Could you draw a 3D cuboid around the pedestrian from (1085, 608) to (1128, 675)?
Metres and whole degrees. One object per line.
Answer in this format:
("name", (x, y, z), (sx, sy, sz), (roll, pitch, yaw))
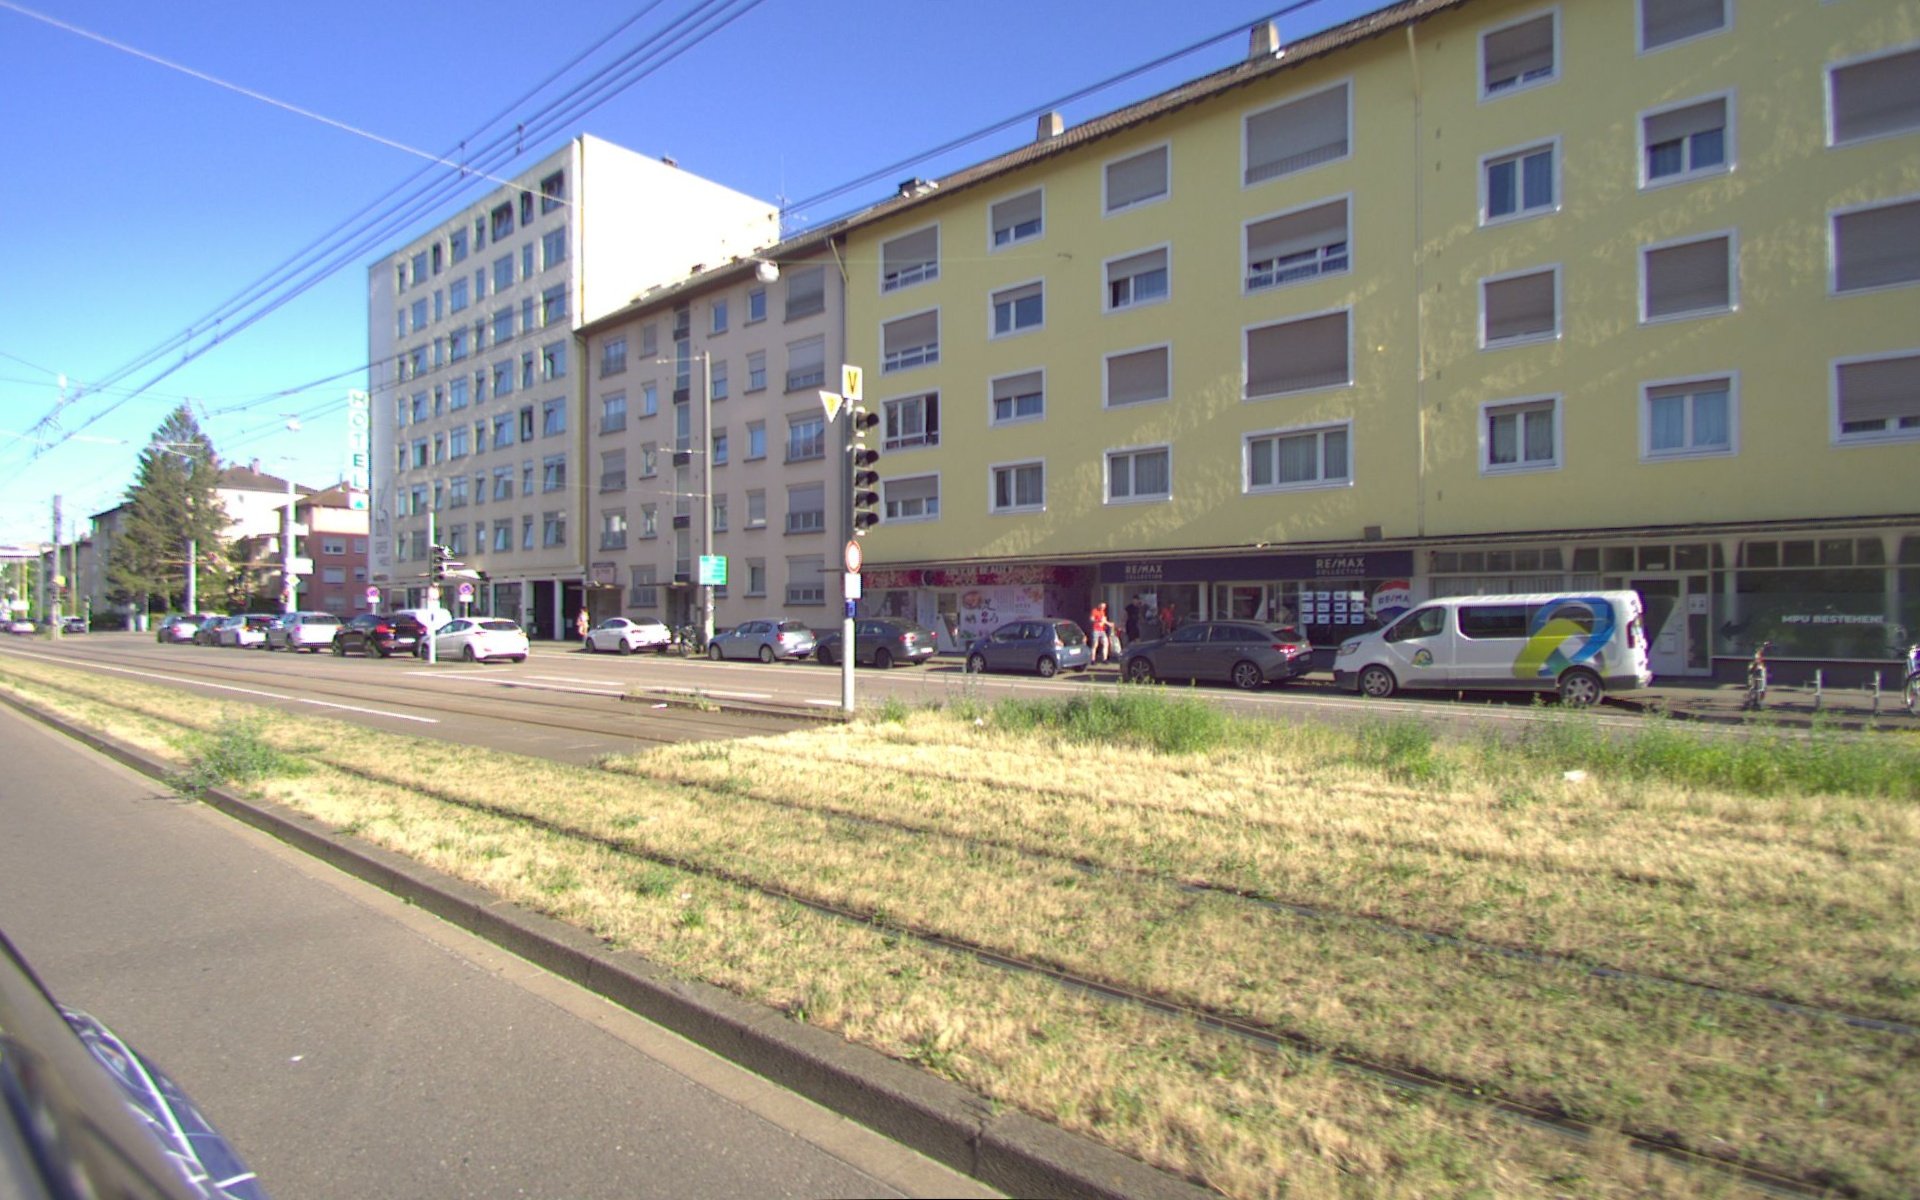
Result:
("pedestrian", (3.944, 1.103, 27.246), (0.844, 1.756, 0.664), (-2, 1, 41))

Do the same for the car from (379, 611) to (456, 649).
("car", (-29.393, 1.605, 54.788), (4.665, 1.912, 1.974), (-2, 1, 39))

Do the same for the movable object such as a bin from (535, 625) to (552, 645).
("movable object such as a bin", (-22.295, 1.896, 54.159), (0.775, 1.059, 0.538), (-2, -2, 43))

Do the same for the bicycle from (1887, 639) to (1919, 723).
("bicycle", (14.703, 1.223, 15.716), (0.390, 1.114, 1.800), (-2, 1, 41))

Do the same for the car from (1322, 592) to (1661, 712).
("car", (10.099, 0.930, 19.518), (5.493, 1.964, 1.975), (-2, 1, 38))

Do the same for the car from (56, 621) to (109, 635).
("car", (-92.130, 2.942, 106.283), (1.737, 1.342, 3.946), (-2, -2, 40))

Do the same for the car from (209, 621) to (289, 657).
("car", (-31.936, 1.762, 45.408), (4.236, 1.562, 1.838), (-2, -4, 39))

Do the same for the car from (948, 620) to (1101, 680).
("car", (1.679, 1.298, 27.079), (3.766, 1.395, 1.765), (-2, 1, 41))

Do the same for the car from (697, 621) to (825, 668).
("car", (-6.719, 1.468, 33.948), (4.410, 1.395, 1.766), (-2, 1, 39))

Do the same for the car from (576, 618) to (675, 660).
("car", (-13.164, 1.512, 39.711), (4.197, 1.497, 1.740), (-2, 1, 41))

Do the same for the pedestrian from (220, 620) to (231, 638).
("pedestrian", (-64.364, 2.538, 88.687), (0.510, 1.618, 0.607), (-2, 1, 39))

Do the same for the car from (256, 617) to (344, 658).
("car", (-26.572, 1.511, 40.698), (4.605, 1.593, 1.764), (-2, -3, 41))

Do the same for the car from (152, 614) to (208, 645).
("car", (-41.820, 1.594, 54.238), (3.997, 1.571, 1.597), (-2, -3, 41))

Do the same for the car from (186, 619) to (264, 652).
("car", (-36.003, 1.746, 49.546), (4.362, 1.562, 1.974), (-2, -4, 39))

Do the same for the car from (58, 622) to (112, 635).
("car", (-89.591, 2.898, 103.683), (1.737, 1.342, 3.946), (-2, -2, 40))

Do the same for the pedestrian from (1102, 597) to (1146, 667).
("pedestrian", (4.568, 0.887, 28.159), (0.923, 1.874, 0.664), (-2, 1, 41))

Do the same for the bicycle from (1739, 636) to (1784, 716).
("bicycle", (13.328, 1.231, 16.811), (0.472, 1.114, 2.076), (-2, 1, 41))

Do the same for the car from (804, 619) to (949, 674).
("car", (-2.573, 1.364, 30.551), (4.413, 1.431, 1.765), (-2, 1, 41))

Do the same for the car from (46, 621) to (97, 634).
("car", (-96.341, 2.940, 109.704), (1.737, 1.342, 3.946), (-2, -2, 40))

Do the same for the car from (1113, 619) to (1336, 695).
("car", (5.945, 1.239, 23.073), (4.593, 1.485, 1.765), (-2, 1, 41))

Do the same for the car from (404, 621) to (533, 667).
("car", (-15.679, 1.390, 32.240), (4.405, 1.395, 1.817), (-2, -2, 35))

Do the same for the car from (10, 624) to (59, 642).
("car", (-79.601, 2.812, 87.085), (1.693, 1.397, 3.725), (-3, 1, -18))

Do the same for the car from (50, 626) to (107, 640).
("car", (-85.940, 3.200, 98.693), (1.737, 1.342, 3.946), (-2, -2, 40))

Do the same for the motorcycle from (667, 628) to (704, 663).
("motorcycle", (-9.996, 1.647, 36.920), (0.481, 1.147, 2.107), (-2, 1, 7))

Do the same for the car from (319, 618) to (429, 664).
("car", (-21.007, 1.469, 36.240), (4.406, 1.540, 1.767), (-2, -3, 36))
